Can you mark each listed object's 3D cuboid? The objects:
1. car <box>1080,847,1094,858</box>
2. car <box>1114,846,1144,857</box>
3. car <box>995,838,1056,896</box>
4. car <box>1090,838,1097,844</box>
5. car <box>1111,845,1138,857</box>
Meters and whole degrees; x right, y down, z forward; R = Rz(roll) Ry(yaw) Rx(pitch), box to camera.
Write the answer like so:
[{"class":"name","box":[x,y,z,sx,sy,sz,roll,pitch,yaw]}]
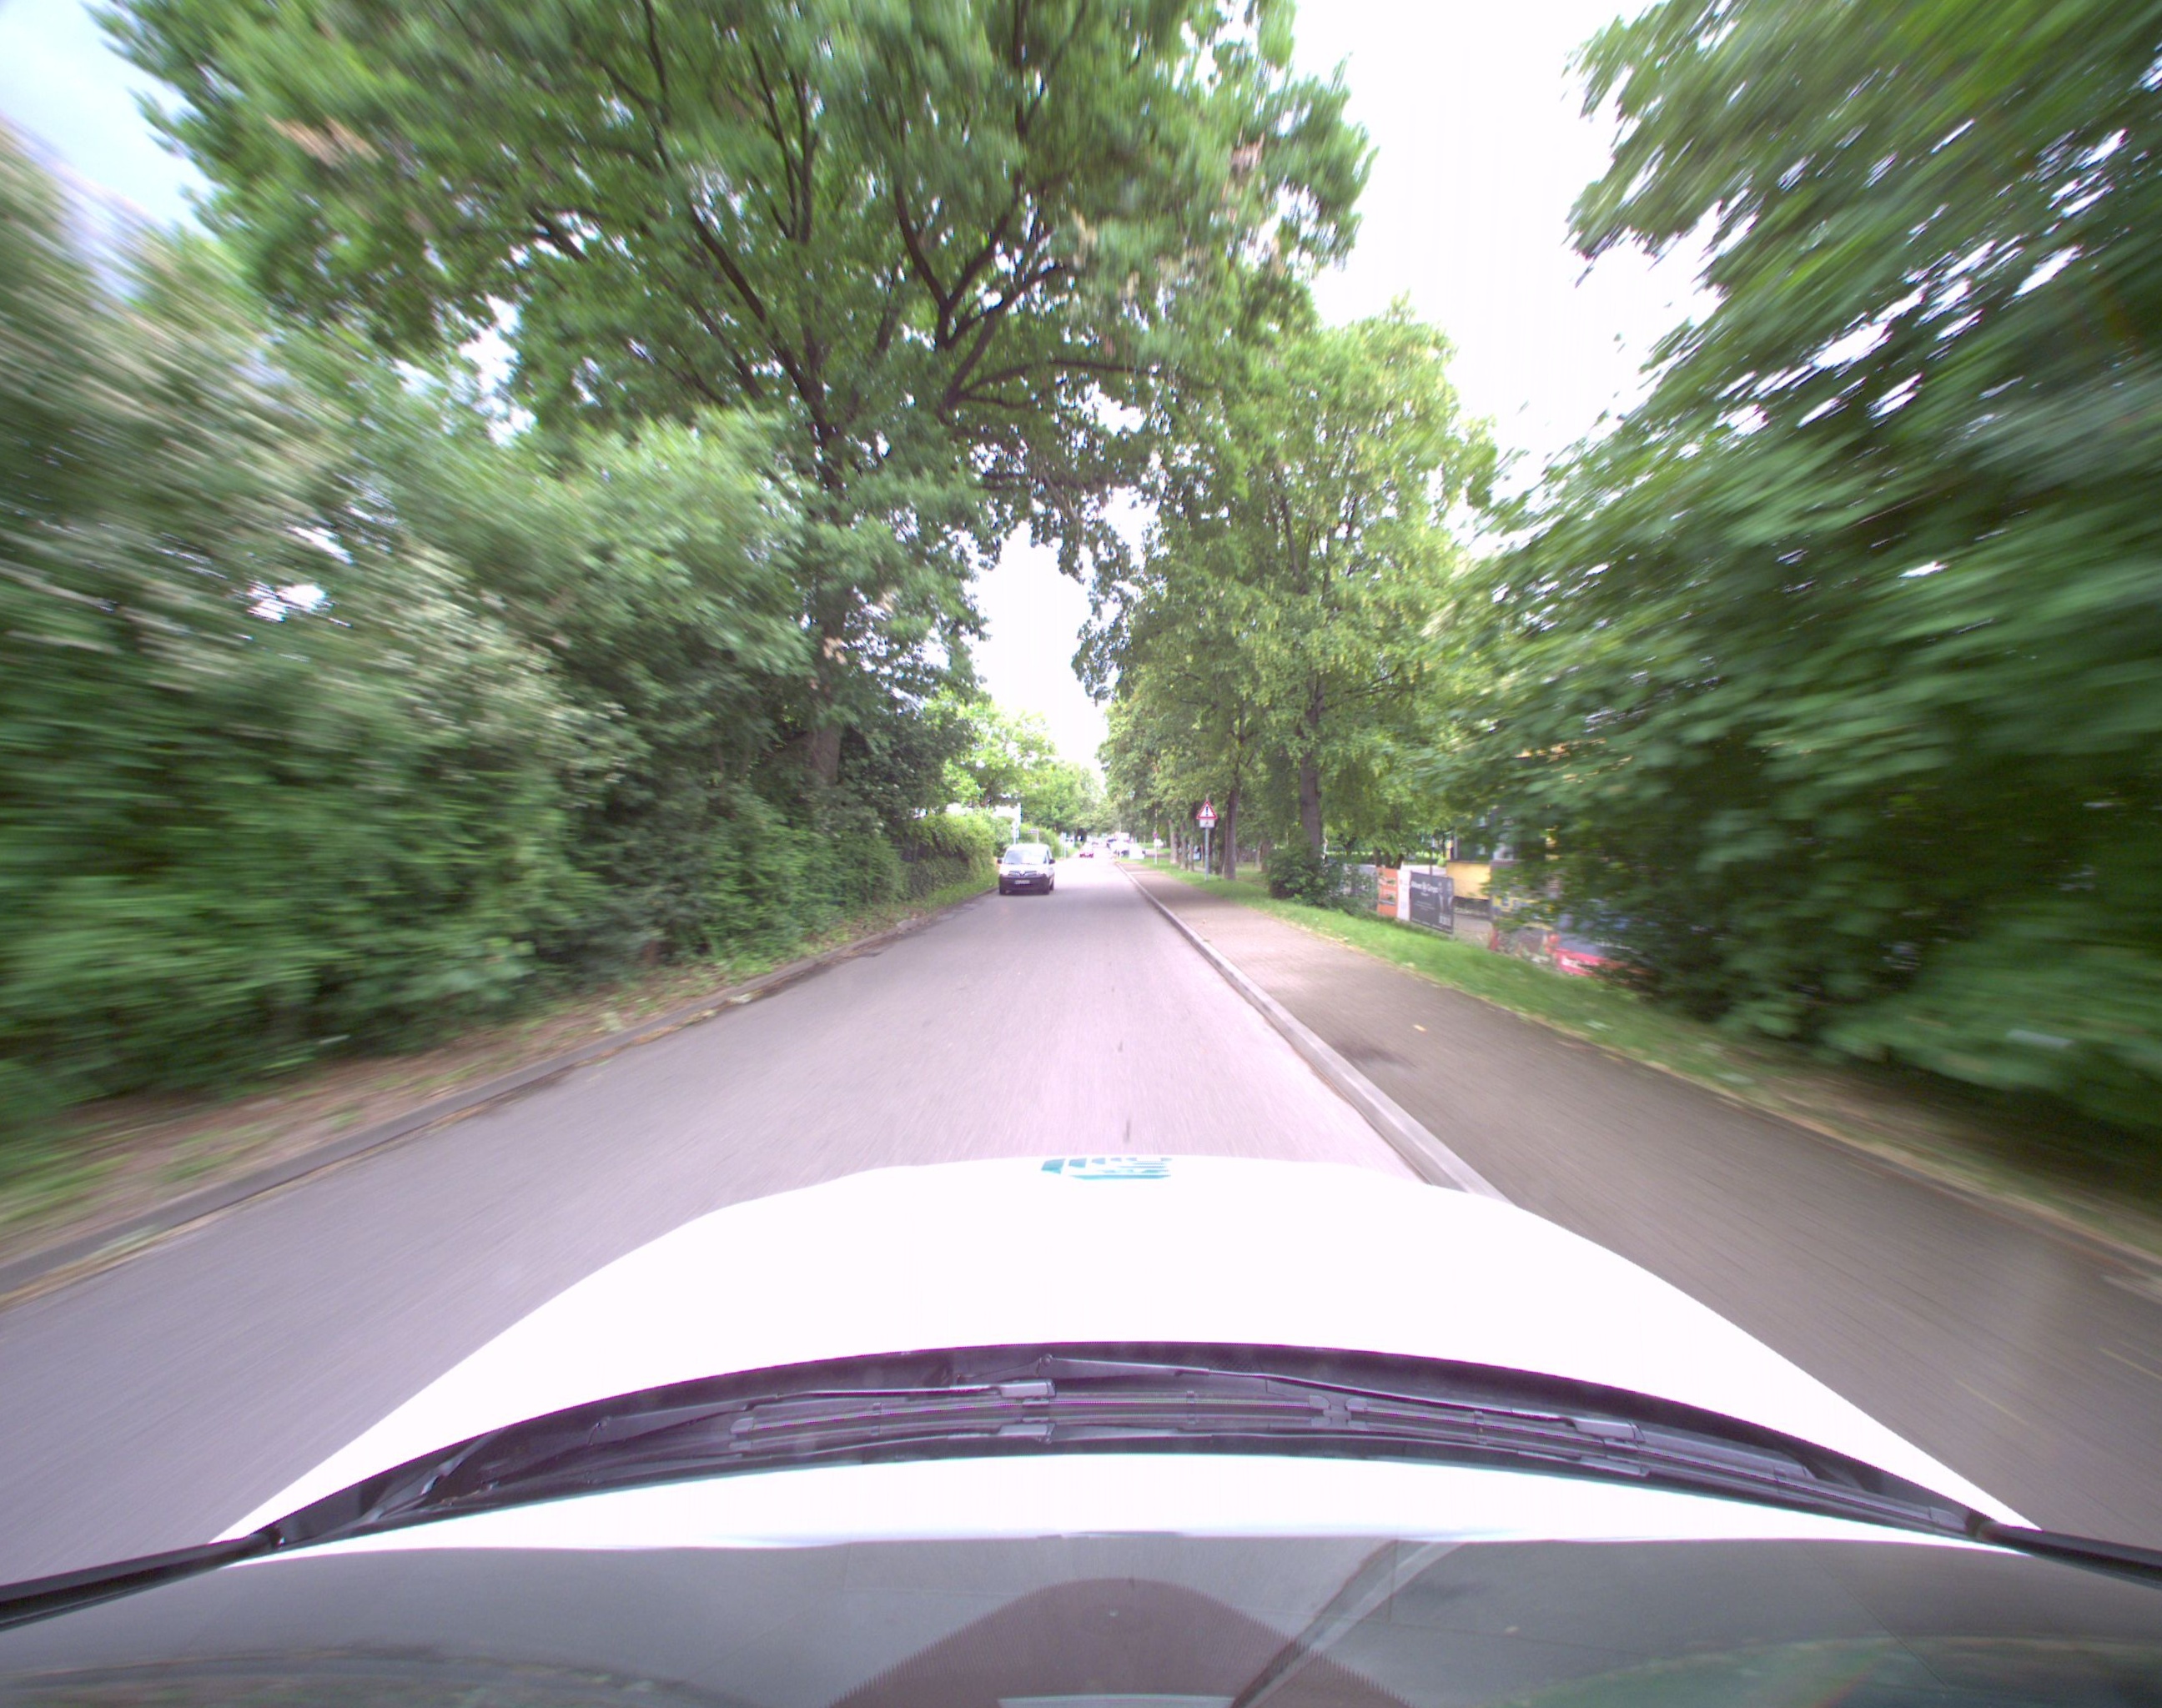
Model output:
[{"class":"car","box":[0.786,-0.237,108.529,1.744,1.335,4.066,1,1,1]},{"class":"car","box":[6.762,-0.308,114.801,4.049,1.434,2.000,-1,-1,0]},{"class":"car","box":[-1.948,0.464,29.873,1.866,1.913,4.431,-1,-1,1]},{"class":"car","box":[3.642,-3.712,239.015,1.962,1.747,4.338,1,1,0]},{"class":"car","box":[7.081,-0.501,132.529,4.053,1.687,1.821,-3,1,-3]}]
